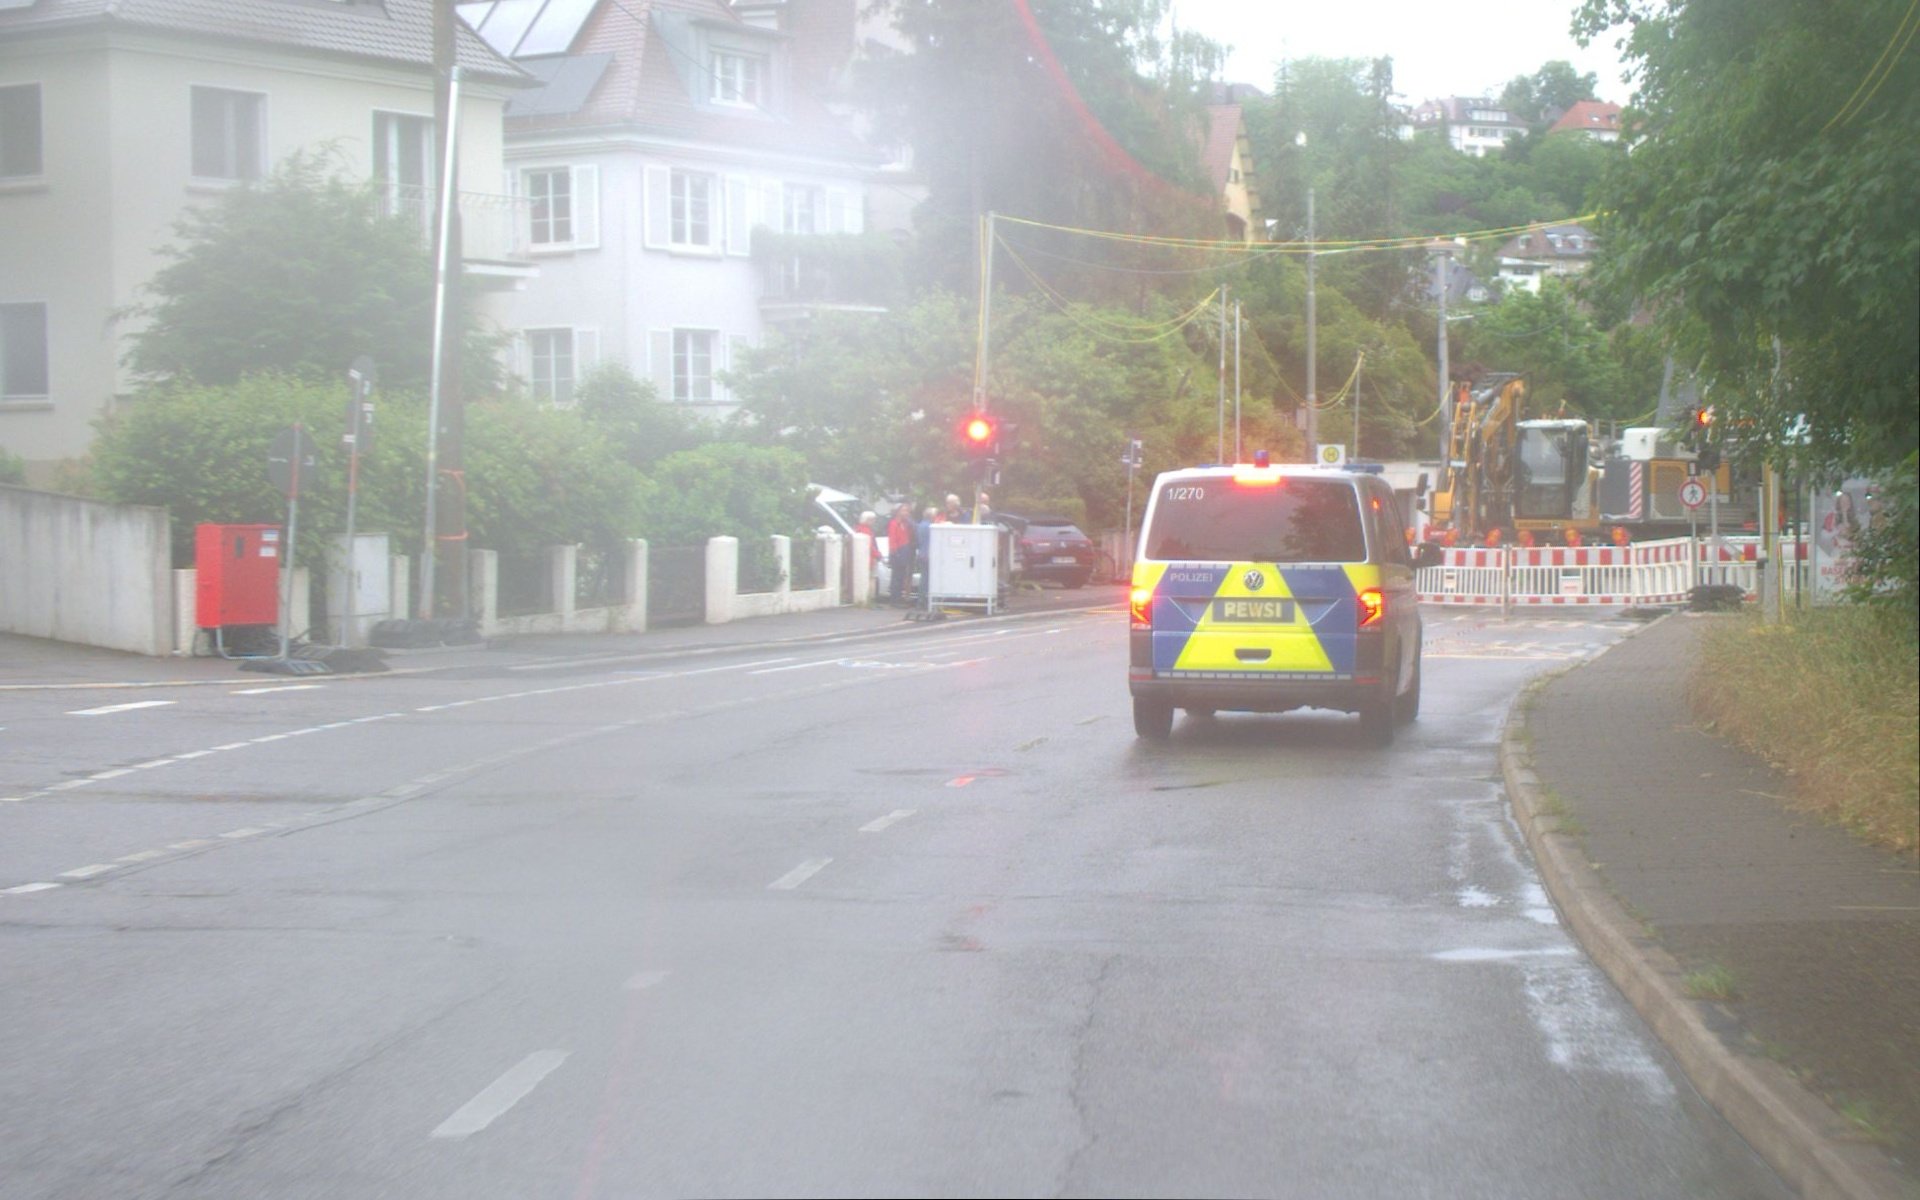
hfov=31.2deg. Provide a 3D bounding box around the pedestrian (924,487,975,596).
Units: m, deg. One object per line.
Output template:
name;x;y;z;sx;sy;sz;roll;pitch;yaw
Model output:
pedestrian;-0.165;-0.933;55.120;0.626;1.709;0.592;2;0;13

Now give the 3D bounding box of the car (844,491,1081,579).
car;0.054;-1.207;63.918;3.992;1.481;1.758;2;0;22

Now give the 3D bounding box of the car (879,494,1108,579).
car;0.651;-1.225;65.988;3.992;1.481;1.758;2;0;22

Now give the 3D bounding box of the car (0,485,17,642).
car;-10.771;-0.378;32.478;3.998;1.438;1.834;2;3;45

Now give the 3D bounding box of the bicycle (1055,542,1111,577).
bicycle;2.456;-0.818;68.750;1.054;0.660;0.320;2;0;22

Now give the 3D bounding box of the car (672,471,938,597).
car;-2.570;-1.113;56.864;3.992;2.007;1.828;1;2;23

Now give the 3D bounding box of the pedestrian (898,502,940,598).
pedestrian;-0.647;-0.786;54.676;0.525;1.501;0.429;2;0;13

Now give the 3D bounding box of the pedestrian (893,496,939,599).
pedestrian;-0.687;-0.815;53.380;0.563;1.577;0.468;2;0;13

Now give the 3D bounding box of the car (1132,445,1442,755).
car;2.434;-0.080;25.466;1.994;2.006;4.401;-3;2;6

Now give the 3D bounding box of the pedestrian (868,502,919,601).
pedestrian;-1.045;-0.763;54.076;0.626;1.516;0.592;2;0;13
